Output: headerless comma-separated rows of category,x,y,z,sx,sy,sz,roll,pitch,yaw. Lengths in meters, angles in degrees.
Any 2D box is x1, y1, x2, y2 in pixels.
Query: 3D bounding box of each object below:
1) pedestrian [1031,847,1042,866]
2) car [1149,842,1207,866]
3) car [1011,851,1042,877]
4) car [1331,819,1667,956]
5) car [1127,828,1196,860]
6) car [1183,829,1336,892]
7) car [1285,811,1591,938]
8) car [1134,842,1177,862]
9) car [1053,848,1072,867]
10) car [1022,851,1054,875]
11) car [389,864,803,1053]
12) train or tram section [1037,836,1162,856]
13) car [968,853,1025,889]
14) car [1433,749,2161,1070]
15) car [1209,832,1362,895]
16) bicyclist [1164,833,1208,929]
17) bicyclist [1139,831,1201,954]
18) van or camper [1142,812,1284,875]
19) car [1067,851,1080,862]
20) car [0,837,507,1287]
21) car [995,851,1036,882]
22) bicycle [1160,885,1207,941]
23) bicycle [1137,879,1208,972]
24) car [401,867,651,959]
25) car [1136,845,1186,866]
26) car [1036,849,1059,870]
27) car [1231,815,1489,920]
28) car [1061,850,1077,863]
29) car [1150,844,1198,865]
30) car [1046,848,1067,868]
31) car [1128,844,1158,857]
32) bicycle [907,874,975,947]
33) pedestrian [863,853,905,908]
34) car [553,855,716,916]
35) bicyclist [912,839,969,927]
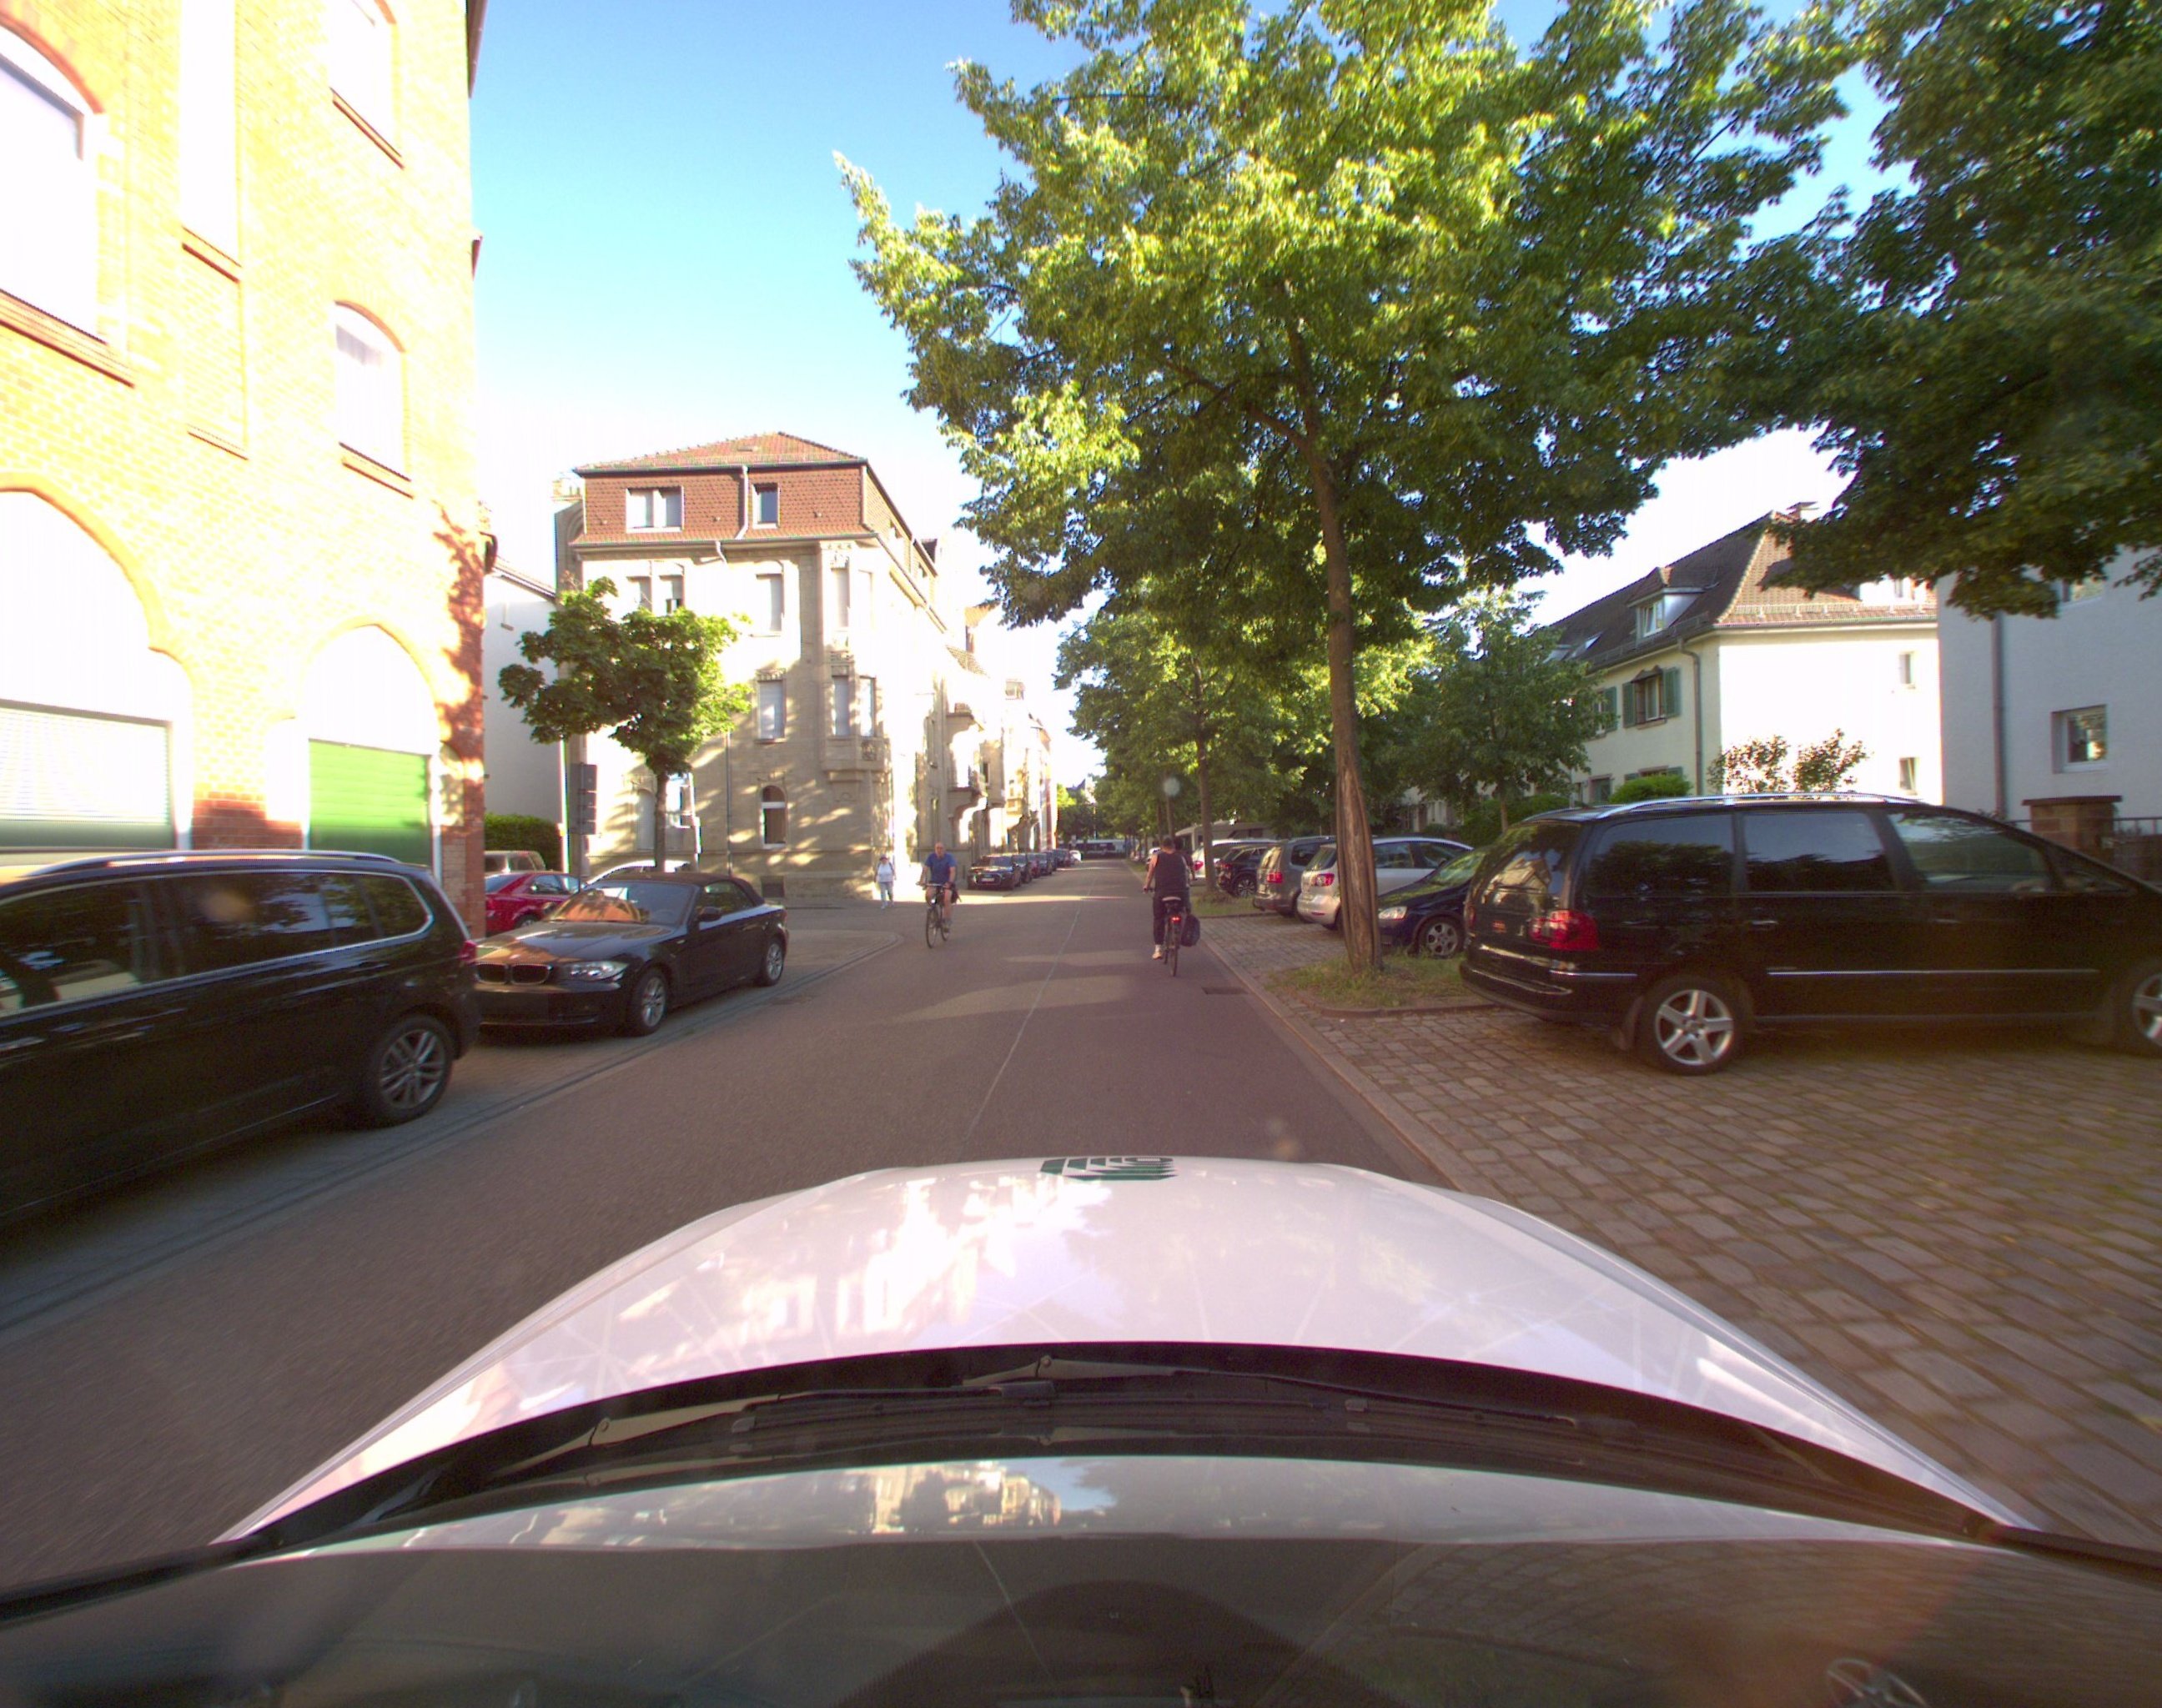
pedestrian,-4.129,0.213,75.011,0.934,1.742,0.735,0,-1,2
car,7.238,0.015,60.961,4.205,1.600,1.692,-2,-2,3
car,-3.201,0.541,48.354,1.624,1.453,3.837,0,1,-1
car,5.567,0.426,11.172,3.708,1.453,1.589,-5,0,1
car,8.656,-1.049,88.170,7.126,2.978,2.463,-3,0,-1
car,5.742,0.192,26.642,4.600,1.709,1.835,-4,0,3
car,5.730,0.322,13.495,4.252,1.633,1.693,-5,0,5
car,7.369,-0.230,80.891,4.070,1.650,1.641,-5,0,0
car,-1.878,0.322,83.419,1.682,1.825,4.276,1,1,2
car,-2.800,0.547,54.204,1.669,1.430,4.553,1,1,2
car,-4.579,0.848,8.610,1.629,1.410,4.335,1,0,2
train or tram section,3.724,-1.505,154.211,23.889,3.708,4.256,0,0,-21
car,-3.581,0.679,35.201,1.804,1.426,4.900,1,0,2
car,5.276,0.305,5.886,4.562,1.677,1.909,-5,0,3
car,5.962,0.259,24.108,4.051,1.476,1.695,-5,1,2
bicyclist,1.837,0.454,14.387,0.686,1.626,0.999,0,0,2
bicyclist,1.164,0.491,10.749,0.727,1.547,0.884,0,-1,1
van or camper,6.906,-0.544,43.324,7.116,2.646,2.467,-5,0,3
car,-1.062,0.322,111.935,1.577,1.375,4.134,1,1,2
car,-4.872,0.782,3.526,1.664,1.681,4.350,-1,0,0
car,-3.225,0.598,40.768,1.690,1.453,4.028,-1,0,0
bicycle,1.749,0.999,14.138,0.631,0.799,1.833,-2,1,2
bicycle,1.161,0.886,10.670,0.735,1.054,1.956,0,0,1
car,-10.658,1.043,16.170,1.629,1.468,4.660,-1,0,2
car,6.852,0.138,69.934,4.121,1.600,1.704,-2,-2,3
car,-2.590,0.385,63.175,1.590,1.489,2.737,2,1,0
car,5.535,0.248,16.494,4.530,1.633,1.810,-5,0,-4
car,-1.417,0.274,94.467,1.577,1.343,4.134,1,1,2
car,7.676,0.048,67.423,3.757,1.600,1.692,-2,-2,3
car,-2.259,0.310,76.467,1.634,1.783,4.357,1,1,2
car,8.402,-0.456,110.563,3.975,1.803,1.833,0,0,-1
bicycle,-2.418,0.948,14.261,0.755,1.107,1.908,-2,0,2
pedestrian,-5.910,0.775,24.518,0.884,1.577,1.054,-3,1,2
car,-13.257,0.913,24.348,3.784,1.549,1.719,-2,3,-1
bicyclist,-2.442,0.487,14.241,0.757,1.454,0.949,-2,-1,1
